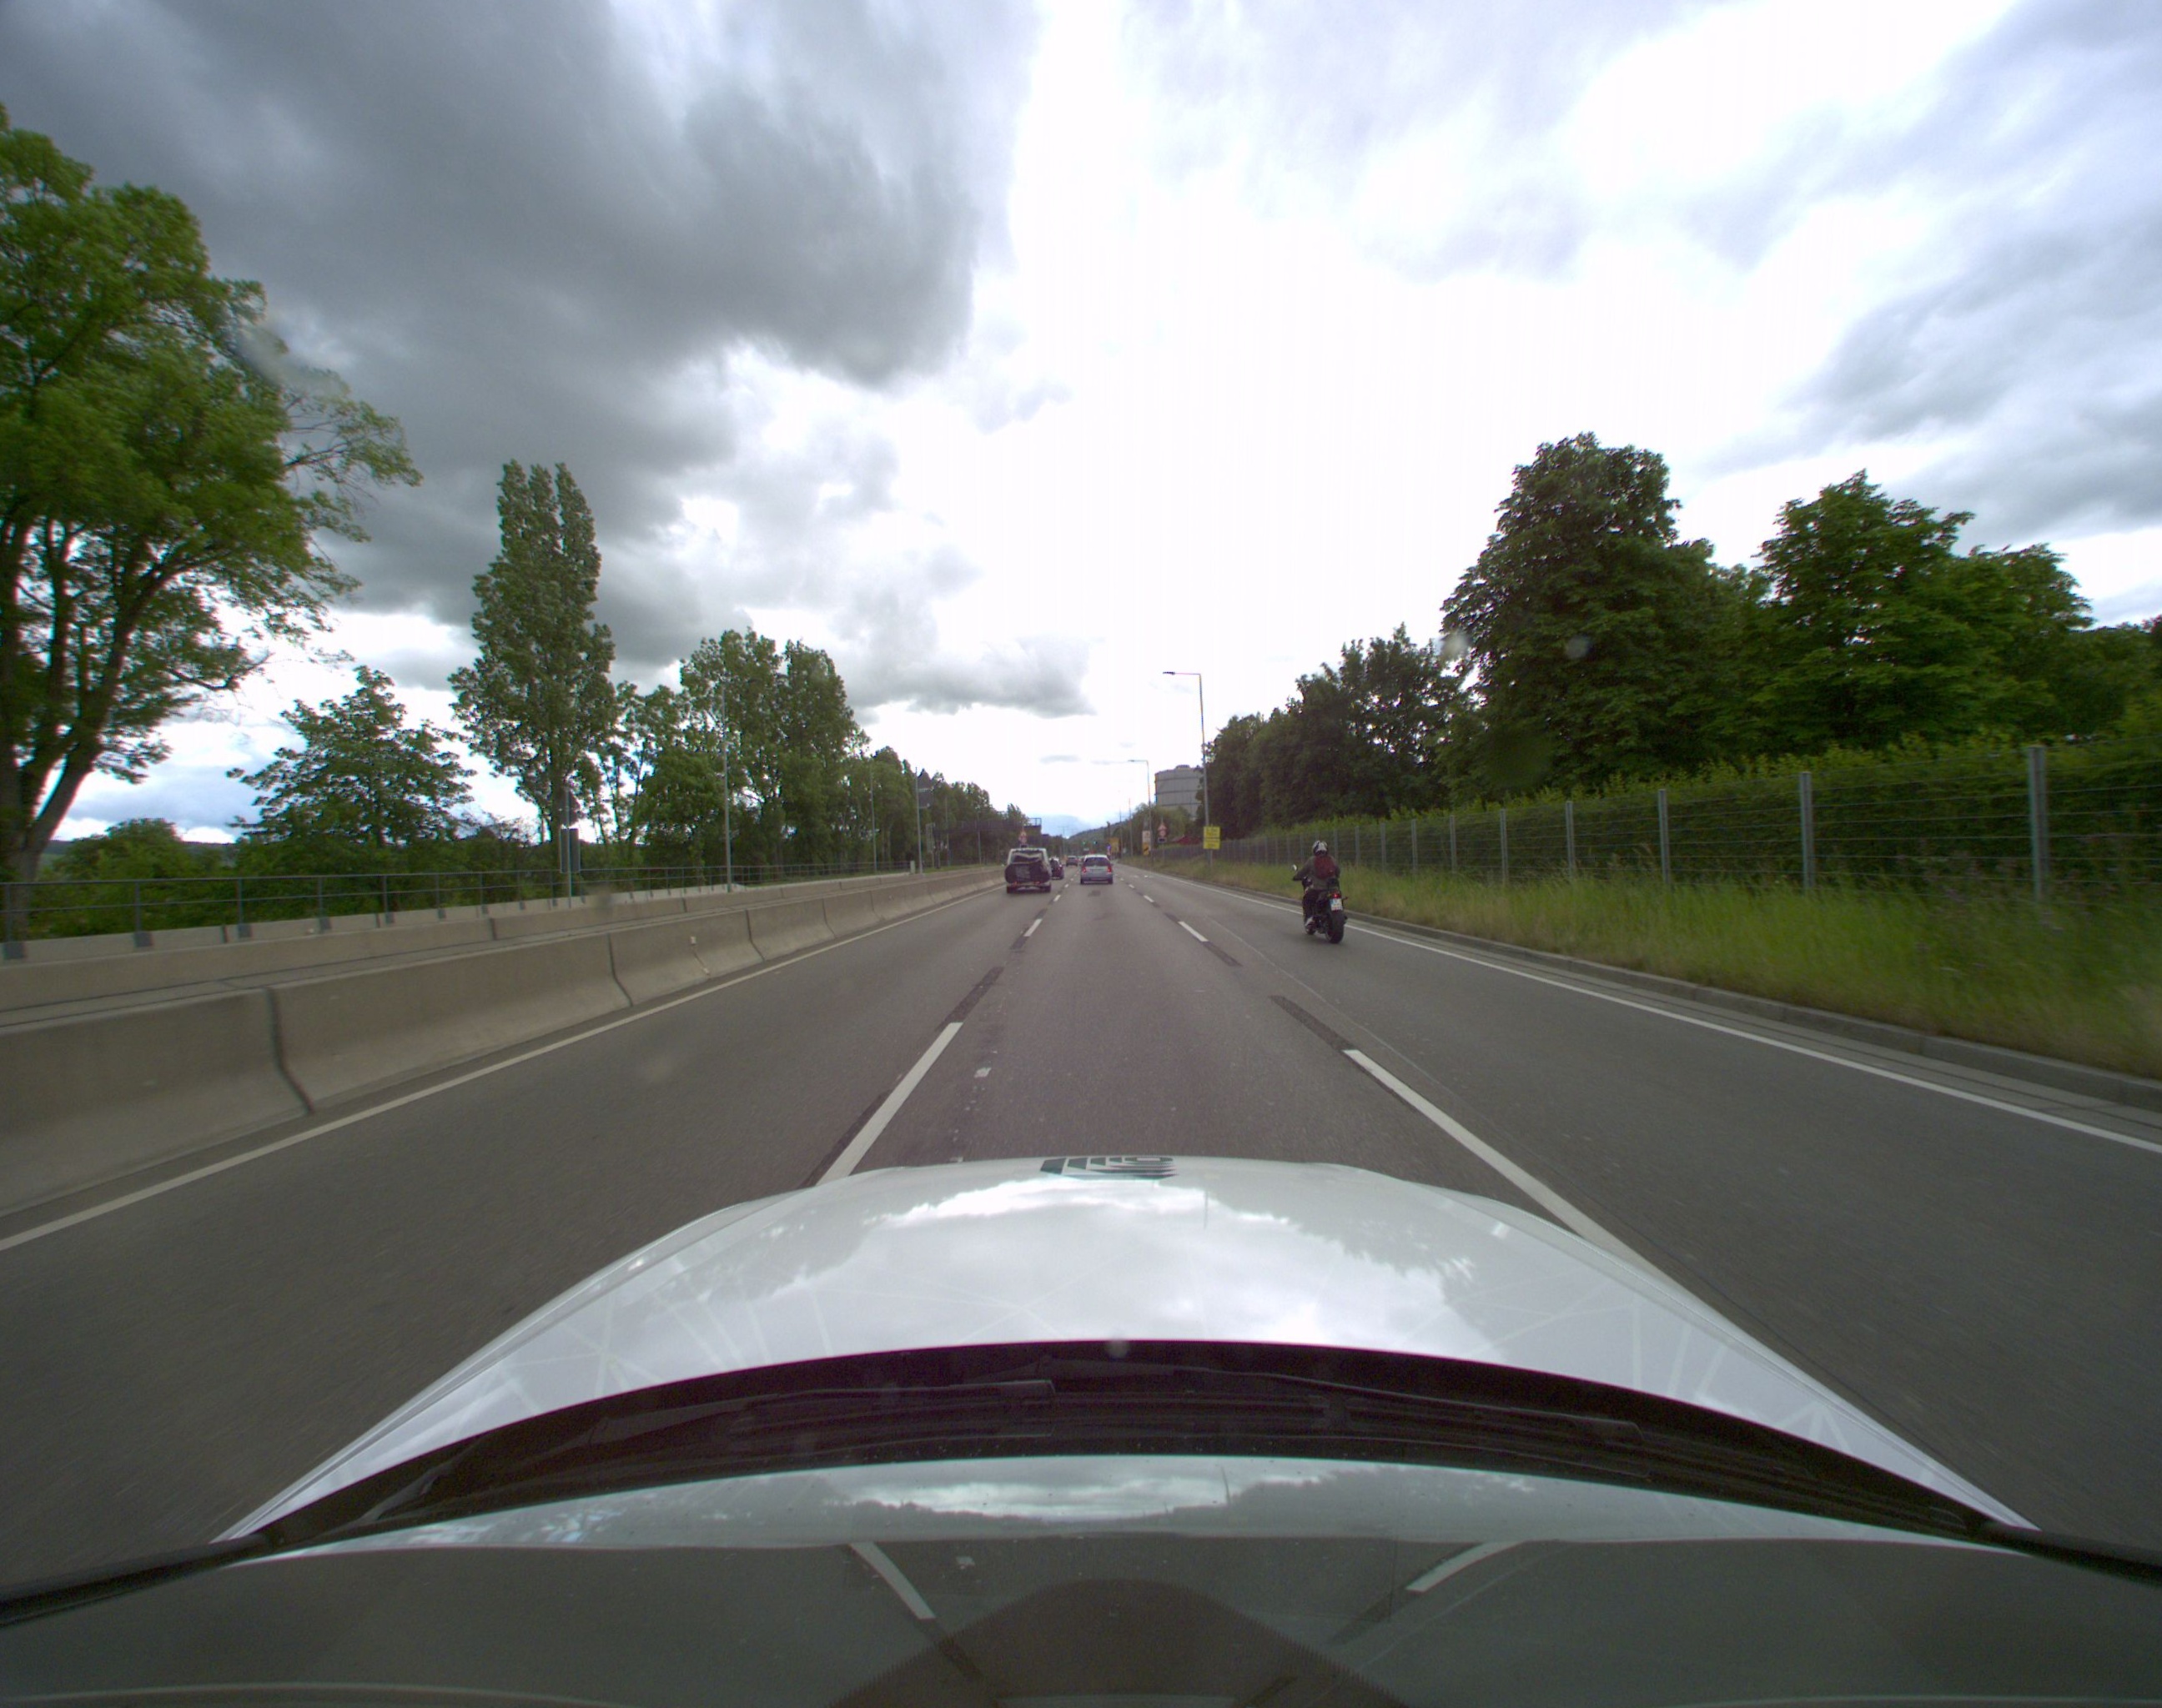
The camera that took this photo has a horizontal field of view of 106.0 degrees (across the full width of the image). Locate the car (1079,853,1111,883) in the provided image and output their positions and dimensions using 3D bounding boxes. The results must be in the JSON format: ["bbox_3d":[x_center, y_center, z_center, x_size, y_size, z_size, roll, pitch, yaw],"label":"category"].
[{"bbox_3d":[0.743,0.742,44.764,1.705,1.530,4.000,0,0,0],"label":"car"}]

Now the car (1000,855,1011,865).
[{"bbox_3d":[-15.779,1.290,171.020,1.987,2.014,3.999,0,0,0],"label":"car"}]

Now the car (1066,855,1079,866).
[{"bbox_3d":[-1.345,1.001,126.959,1.987,1.552,3.999,0,0,0],"label":"car"}]

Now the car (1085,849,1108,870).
[{"bbox_3d":[1.356,0.459,70.074,1.901,1.684,4.001,0,0,1],"label":"car"}]

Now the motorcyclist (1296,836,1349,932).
[{"bbox_3d":[4.146,0.500,14.015,0.682,1.610,0.846,0,0,2],"label":"motorcyclist"}]

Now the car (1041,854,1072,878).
[{"bbox_3d":[-1.615,0.801,55.033,1.987,1.552,3.999,0,0,0],"label":"car"}]

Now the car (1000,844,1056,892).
[{"bbox_3d":[-2.179,0.564,34.983,2.209,1.926,4.998,0,0,-2],"label":"car"}]

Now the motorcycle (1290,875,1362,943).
[{"bbox_3d":[4.160,0.902,13.998,0.703,1.040,2.028,0,0,2],"label":"motorcycle"}]
